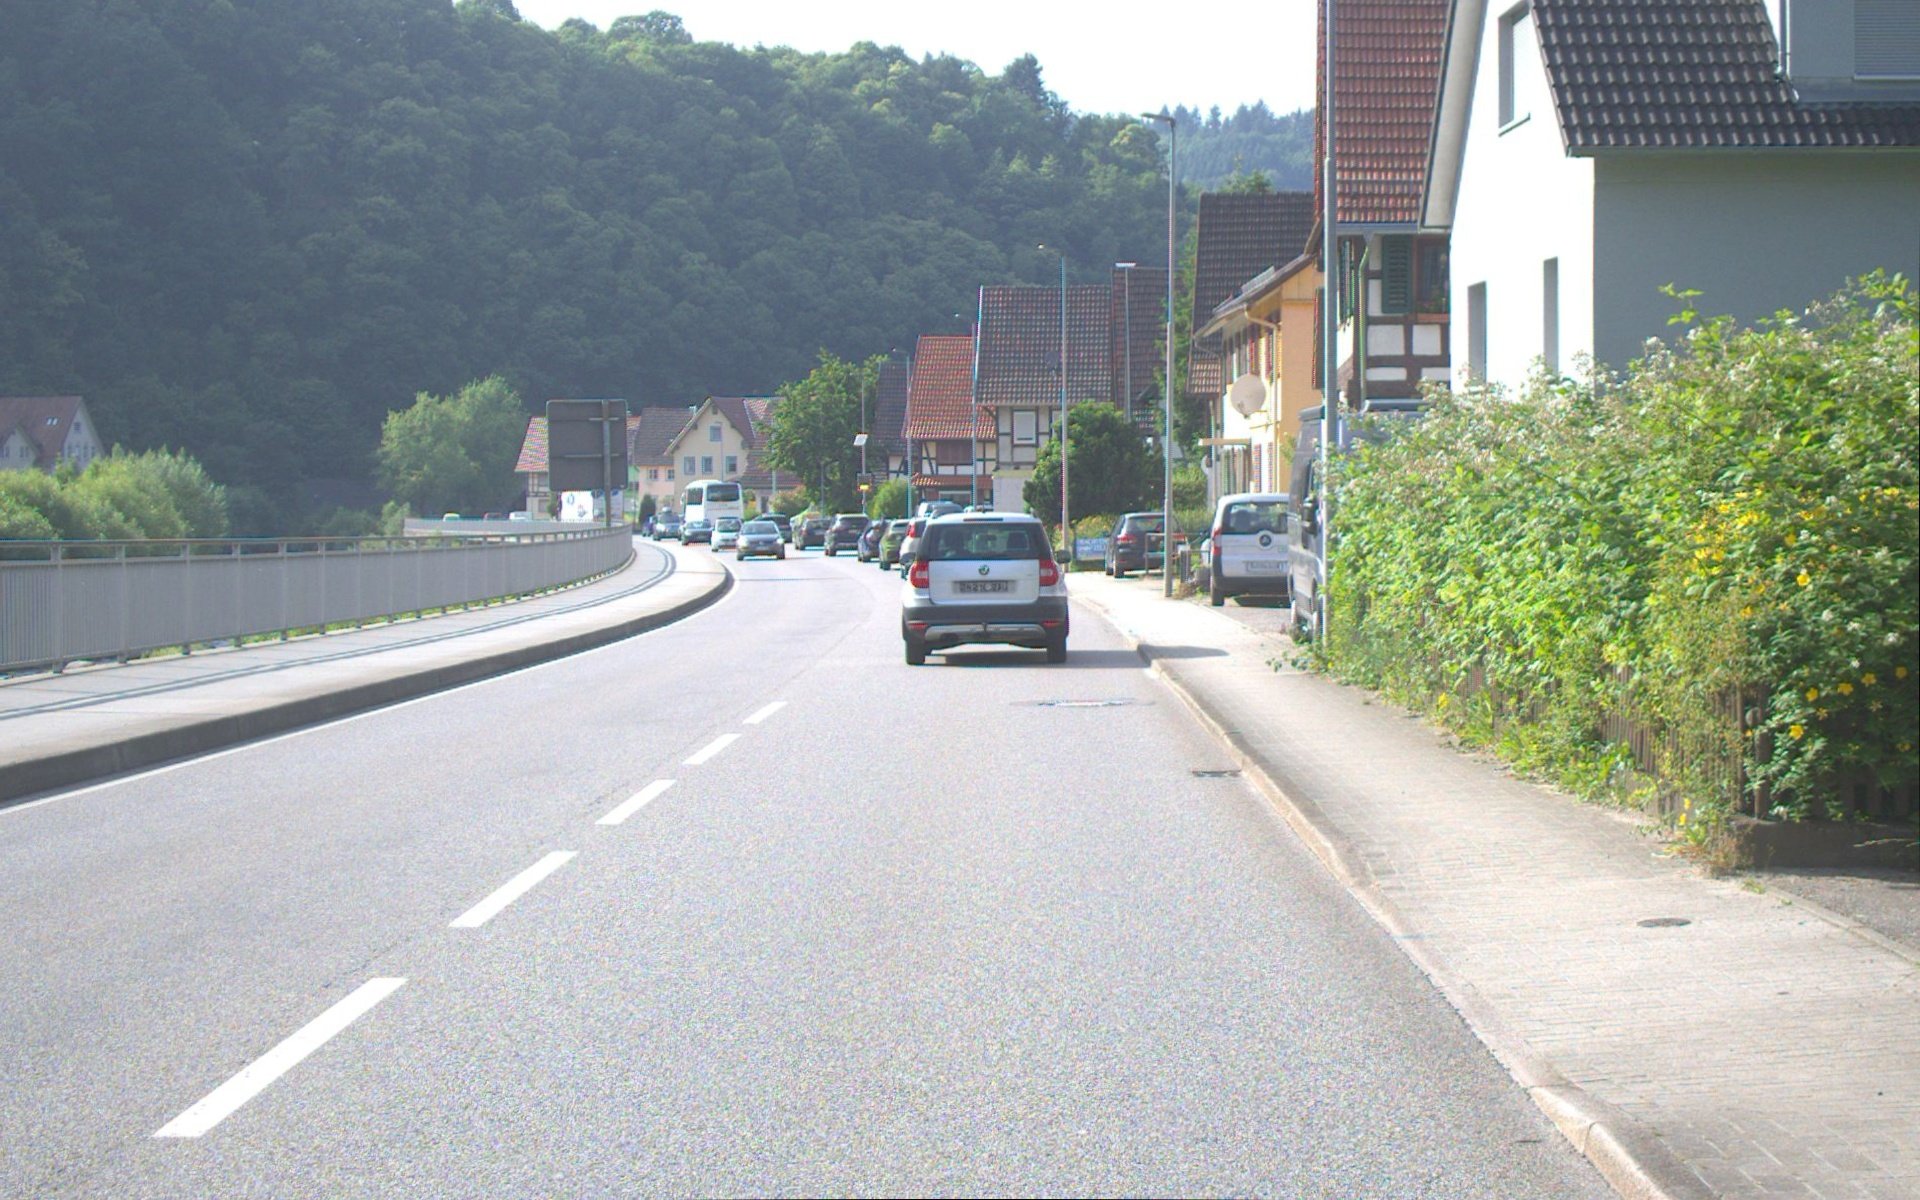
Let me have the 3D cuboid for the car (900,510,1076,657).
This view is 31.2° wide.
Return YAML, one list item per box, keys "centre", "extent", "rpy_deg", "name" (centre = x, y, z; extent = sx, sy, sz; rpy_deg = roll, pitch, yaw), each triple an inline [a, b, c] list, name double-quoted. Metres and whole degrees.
- centre: [0.280, -0.214, 38.381]
  extent: [1.861, 1.539, 4.373]
  rpy_deg: [0, 1, 0]
  name: "car"

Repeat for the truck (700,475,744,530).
- centre: [-15.089, -6.218, 218.247]
  extent: [2.728, 3.363, 6.480]
  rpy_deg: [0, 2, -3]
  name: "truck"

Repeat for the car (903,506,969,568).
- centre: [-0.619, -1.598, 87.518]
  extent: [1.622, 1.536, 3.278]
  rpy_deg: [0, 0, -1]
  name: "car"

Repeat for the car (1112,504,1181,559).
- centre: [4.255, -1.552, 78.703]
  extent: [1.544, 1.212, 3.277]
  rpy_deg: [0, 0, 3]
  name: "car"

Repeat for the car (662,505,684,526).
- centre: [-18.222, -5.349, 218.026]
  extent: [1.364, 1.273, 3.083]
  rpy_deg: [0, 0, -5]
  name: "car"

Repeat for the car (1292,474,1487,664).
- centre: [4.294, -0.371, 34.850]
  extent: [1.811, 1.787, 4.000]
  rpy_deg: [0, 2, 5]
  name: "car"

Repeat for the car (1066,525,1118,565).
- centre: [3.319, -1.374, 86.596]
  extent: [1.296, 0.971, 2.922]
  rpy_deg: [0, 0, 2]
  name: "car"

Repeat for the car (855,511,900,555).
- centre: [-2.795, -2.253, 116.343]
  extent: [1.479, 1.454, 3.083]
  rpy_deg: [0, 0, -1]
  name: "car"

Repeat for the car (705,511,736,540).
- centre: [-11.020, -3.421, 158.160]
  extent: [1.364, 1.273, 3.083]
  rpy_deg: [0, 0, -3]
  name: "car"

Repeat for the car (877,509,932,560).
- centre: [-1.644, -1.916, 101.623]
  extent: [1.610, 1.454, 3.346]
  rpy_deg: [0, 0, -1]
  name: "car"

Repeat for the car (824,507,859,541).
- centre: [-4.632, -2.961, 134.105]
  extent: [1.364, 1.273, 3.083]
  rpy_deg: [0, 0, -2]
  name: "car"

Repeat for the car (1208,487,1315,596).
- centre: [4.712, -0.899, 53.958]
  extent: [1.610, 1.640, 3.650]
  rpy_deg: [0, 0, 4]
  name: "car"

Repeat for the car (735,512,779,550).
- centre: [-7.667, -2.599, 129.969]
  extent: [1.579, 1.368, 3.343]
  rpy_deg: [0, 0, -5]
  name: "car"

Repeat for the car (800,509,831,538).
- centre: [-6.496, -3.440, 154.847]
  extent: [1.364, 1.273, 3.083]
  rpy_deg: [0, 0, -2]
  name: "car"

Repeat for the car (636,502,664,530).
- centre: [-22.800, -6.173, 252.857]
  extent: [1.993, 2.006, 4.001]
  rpy_deg: [0, 2, -5]
  name: "car"

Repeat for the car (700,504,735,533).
- centre: [-13.516, -4.538, 191.428]
  extent: [1.748, 1.539, 4.001]
  rpy_deg: [0, 2, -7]
  name: "car"

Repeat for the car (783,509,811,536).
- centre: [-8.943, -4.262, 188.772]
  extent: [1.465, 1.440, 3.621]
  rpy_deg: [0, 2, -4]
  name: "car"
